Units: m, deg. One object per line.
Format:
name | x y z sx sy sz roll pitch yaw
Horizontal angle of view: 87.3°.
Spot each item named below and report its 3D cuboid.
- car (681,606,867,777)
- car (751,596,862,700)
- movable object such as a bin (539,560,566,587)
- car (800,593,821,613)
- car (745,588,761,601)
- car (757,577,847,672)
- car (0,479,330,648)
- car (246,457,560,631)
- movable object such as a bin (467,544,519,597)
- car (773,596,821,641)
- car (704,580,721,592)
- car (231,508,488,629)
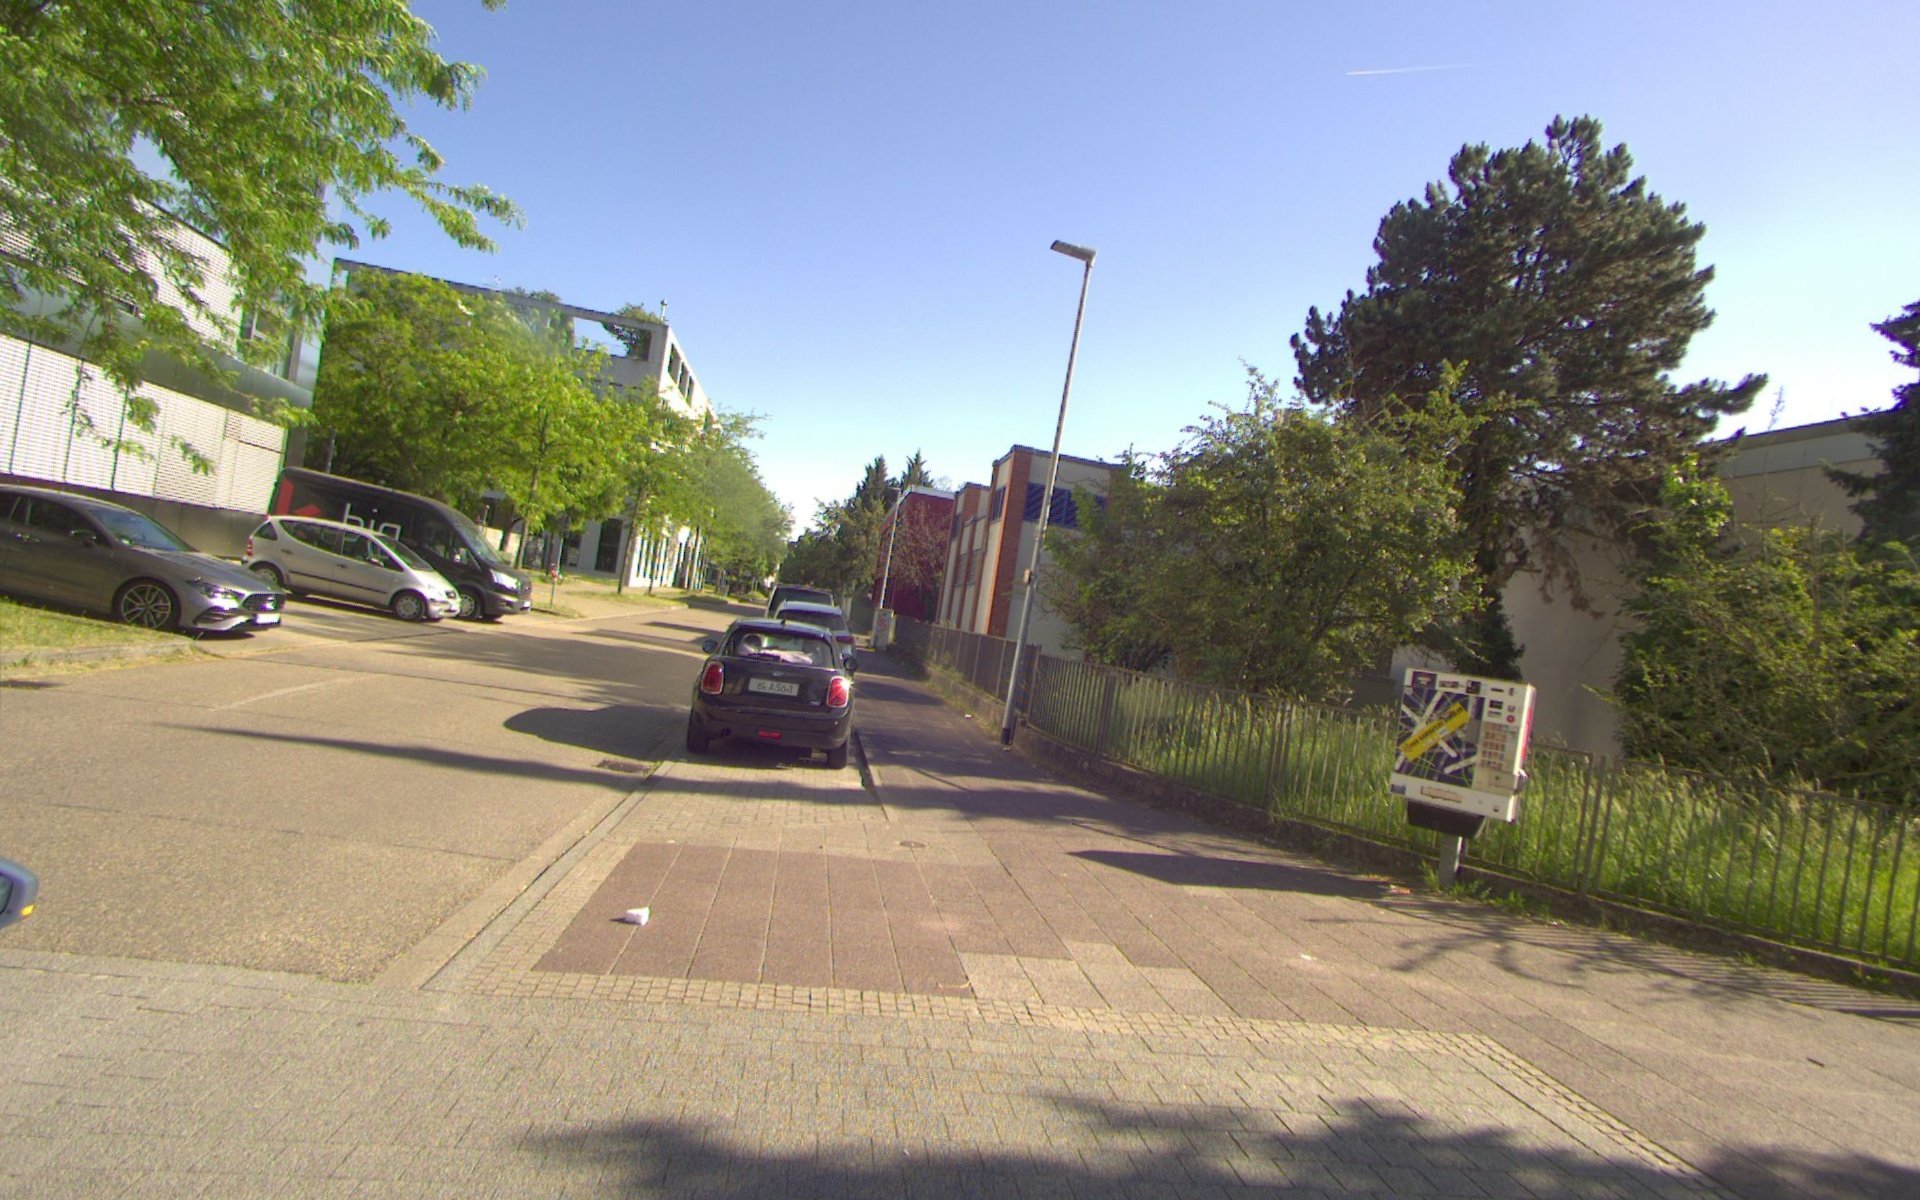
car | -2.101 0.918 11.706 1.629 1.489 3.759 8 -1 -9
car | -3.080 0.888 20.350 1.800 1.648 4.288 8 -1 -8
movable object such as a bin | -20.491 -1.328 50.626 0.654 1.195 1.933 9 -1 -8
car | -15.720 0.332 106.082 1.965 1.857 3.995 6 0 -8
car | -28.791 -0.817 140.205 1.968 1.474 3.786 10 -2 -11
car | -4.162 0.619 26.730 1.917 2.045 4.819 8 -1 -8
car | -10.903 -0.555 12.670 4.478 1.365 1.890 12 -2 -9
car | -12.291 -1.166 22.643 5.387 2.651 2.228 11 -1 -10
movable object such as a bin | -14.713 -0.944 31.691 1.283 1.430 1.219 10 0 -26
car | -6.829 0.734 42.451 1.637 1.579 3.929 9 -1 -7
car | -34.325 -1.908 139.757 1.881 1.357 3.785 9 -1 -11
car | -11.839 -0.583 20.089 3.781 1.664 1.890 10 -1 -9
